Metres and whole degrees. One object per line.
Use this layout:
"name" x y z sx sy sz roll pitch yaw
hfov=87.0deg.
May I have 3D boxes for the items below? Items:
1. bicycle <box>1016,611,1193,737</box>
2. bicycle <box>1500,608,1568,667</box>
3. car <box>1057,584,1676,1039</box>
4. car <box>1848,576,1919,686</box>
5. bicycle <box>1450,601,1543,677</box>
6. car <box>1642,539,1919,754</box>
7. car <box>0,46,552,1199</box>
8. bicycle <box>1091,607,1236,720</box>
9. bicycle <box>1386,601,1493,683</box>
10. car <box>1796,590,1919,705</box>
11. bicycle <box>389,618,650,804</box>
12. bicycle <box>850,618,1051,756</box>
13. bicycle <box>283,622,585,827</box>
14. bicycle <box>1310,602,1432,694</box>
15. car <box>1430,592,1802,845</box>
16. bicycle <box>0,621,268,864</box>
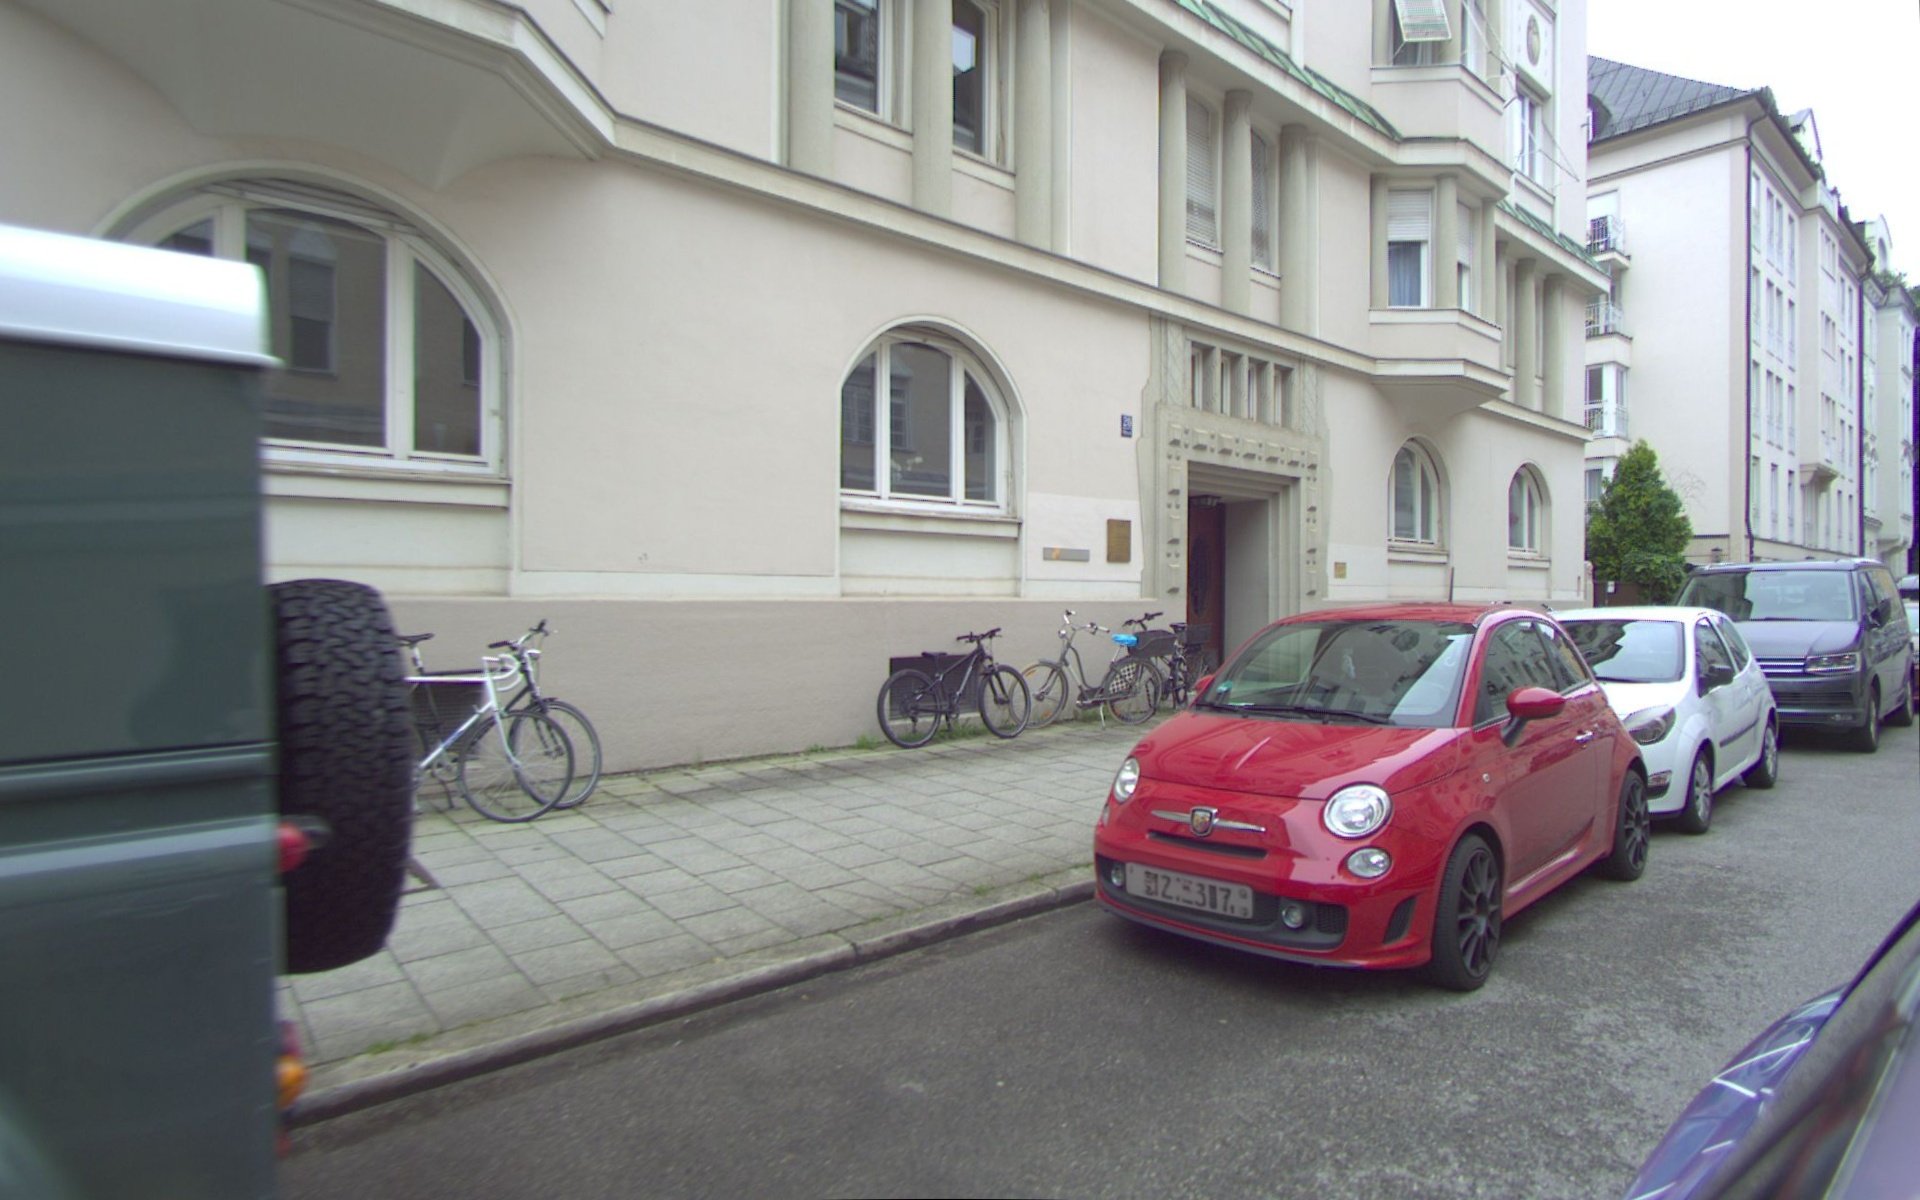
"bicycle" 1.484 0.690 10.183 1.933 1.131 0.642 0 0 -40
"bicycle" 10.237 0.648 18.035 1.787 0.970 0.539 0 0 -43
"car" 2.206 0.699 5.048 3.444 1.491 1.494 0 -1 -42
"car" 16.990 0.495 17.724 3.396 1.800 1.682 0 0 -40
"bicycle" 8.780 0.603 16.536 1.852 1.131 0.719 -1 2 -42
"car" 9.525 0.431 11.489 4.583 1.961 1.878 0 -1 -42
"car" -2.713 0.416 0.928 3.999 2.065 1.799 0 0 -40
"bicycle" 2.289 0.660 11.220 1.933 1.131 0.493 0 0 -41
"bicycle" 7.239 0.596 15.253 1.933 1.131 0.719 0 2 -41
"car" 13.522 0.602 14.534 3.672 1.485 1.730 0 0 -40
"bicycle" -2.837 0.693 6.611 1.527 1.131 0.317 0 0 -13
"bicycle" -0.053 0.722 9.074 1.805 1.060 0.642 0 2 -40
"bicycle" -3.129 0.716 6.134 1.566 1.131 0.432 0 0 -13
"bicycle" 5.679 0.618 13.939 1.933 1.131 0.719 0 3 -41
"car" 5.151 0.705 7.766 3.612 1.491 1.494 0 -1 -42
"bicycle" -4.721 0.697 5.150 1.933 1.131 0.642 0 0 -40
